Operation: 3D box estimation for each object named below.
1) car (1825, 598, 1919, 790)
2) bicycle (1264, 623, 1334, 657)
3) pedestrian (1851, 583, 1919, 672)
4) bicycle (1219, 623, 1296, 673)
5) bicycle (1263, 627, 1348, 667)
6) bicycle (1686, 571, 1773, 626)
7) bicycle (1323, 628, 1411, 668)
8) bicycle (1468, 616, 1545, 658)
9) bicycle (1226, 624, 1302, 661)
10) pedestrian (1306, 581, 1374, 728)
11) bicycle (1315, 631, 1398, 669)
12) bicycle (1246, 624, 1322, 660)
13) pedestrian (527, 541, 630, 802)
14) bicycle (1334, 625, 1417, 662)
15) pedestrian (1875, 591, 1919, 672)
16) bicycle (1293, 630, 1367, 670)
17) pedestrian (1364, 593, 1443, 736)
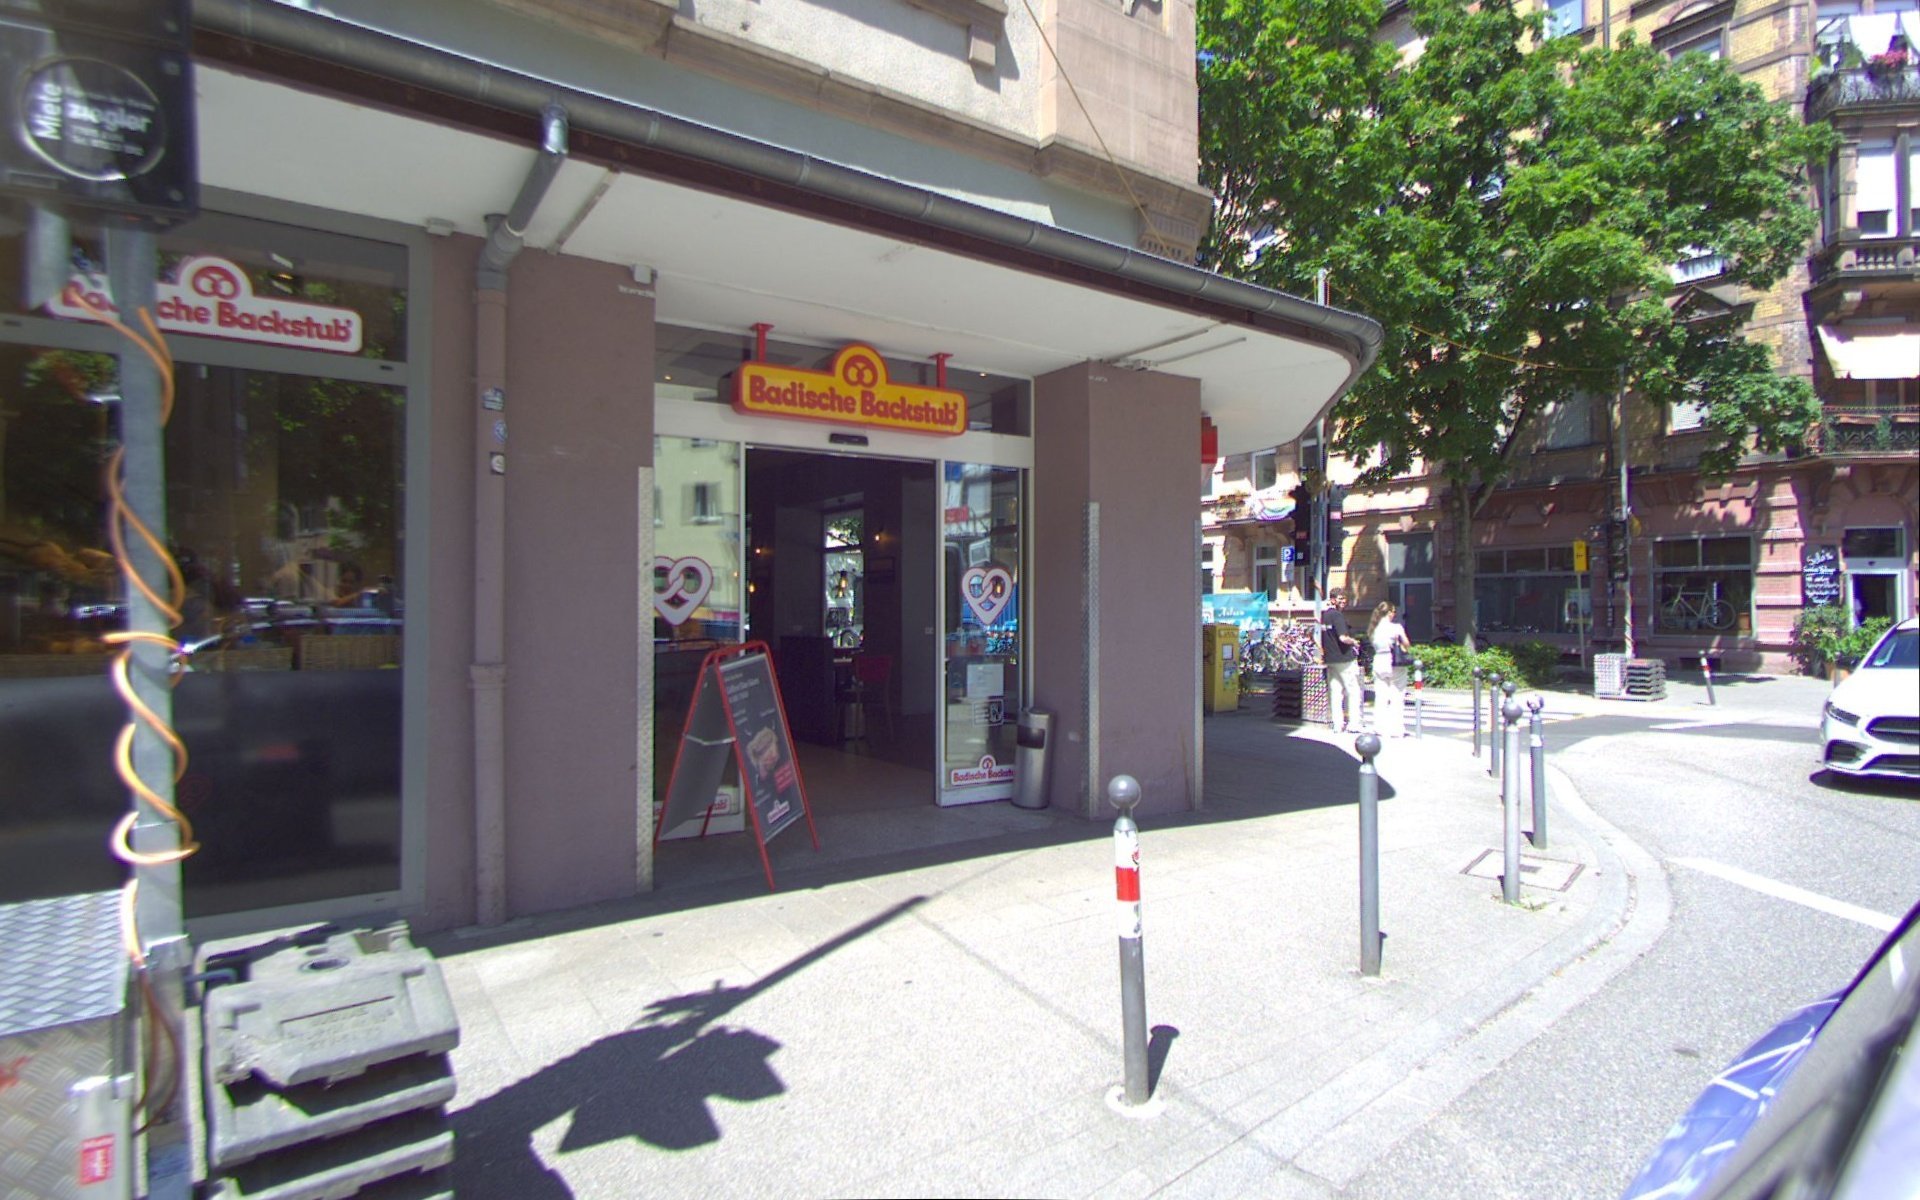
[{"bbox_3d":[9.194,0.697,8.732,4.164,1.443,1.813,-1,-1,-38],"label":"car"},{"bbox_3d":[9.579,1.115,28.680,0.499,0.883,2.076,0,-1,-30],"label":"bicycle"},{"bbox_3d":[19.499,0.569,21.341,0.926,1.841,0.456,0,2,9],"label":"pedestrian"},{"bbox_3d":[7.141,1.135,24.337,0.500,1.121,1.782,-2,0,-40],"label":"bicycle"},{"bbox_3d":[8.187,1.092,24.077,0.499,0.883,2.076,0,-1,-30],"label":"bicycle"},{"bbox_3d":[16.921,-0.021,22.284,0.500,1.167,1.427,0,-1,-32],"label":"bicycle"},{"bbox_3d":[9.722,1.121,24.251,0.499,0.883,2.076,0,-1,-30],"label":"bicycle"},{"bbox_3d":[13.942,0.925,25.869,0.512,1.021,1.697,1,-1,-34],"label":"bicycle"},{"bbox_3d":[7.772,1.063,25.957,0.499,0.883,2.076,0,-1,-30],"label":"bicycle"},{"bbox_3d":[4.795,0.679,12.779,0.463,1.791,0.576,5,-2,-42],"label":"pedestrian"},{"bbox_3d":[9.985,1.232,25.550,0.499,0.883,2.076,0,-1,-30],"label":"bicycle"},{"bbox_3d":[8.346,1.065,26.154,0.499,0.883,2.076,0,-1,-30],"label":"bicycle"},{"bbox_3d":[-2.510,0.457,6.700,0.442,1.649,0.553,-1,-1,5],"label":"pedestrian"},{"bbox_3d":[10.562,1.093,25.808,0.499,0.883,2.076,0,-1,-30],"label":"bicycle"},{"bbox_3d":[20.552,0.677,22.084,0.712,1.740,0.495,0,1,10],"label":"pedestrian"},{"bbox_3d":[8.872,1.179,24.303,0.499,0.883,1.746,0,-1,-30],"label":"bicycle"},{"bbox_3d":[5.397,0.769,12.327,0.415,1.666,0.702,5,-2,-42],"label":"pedestrian"}]
